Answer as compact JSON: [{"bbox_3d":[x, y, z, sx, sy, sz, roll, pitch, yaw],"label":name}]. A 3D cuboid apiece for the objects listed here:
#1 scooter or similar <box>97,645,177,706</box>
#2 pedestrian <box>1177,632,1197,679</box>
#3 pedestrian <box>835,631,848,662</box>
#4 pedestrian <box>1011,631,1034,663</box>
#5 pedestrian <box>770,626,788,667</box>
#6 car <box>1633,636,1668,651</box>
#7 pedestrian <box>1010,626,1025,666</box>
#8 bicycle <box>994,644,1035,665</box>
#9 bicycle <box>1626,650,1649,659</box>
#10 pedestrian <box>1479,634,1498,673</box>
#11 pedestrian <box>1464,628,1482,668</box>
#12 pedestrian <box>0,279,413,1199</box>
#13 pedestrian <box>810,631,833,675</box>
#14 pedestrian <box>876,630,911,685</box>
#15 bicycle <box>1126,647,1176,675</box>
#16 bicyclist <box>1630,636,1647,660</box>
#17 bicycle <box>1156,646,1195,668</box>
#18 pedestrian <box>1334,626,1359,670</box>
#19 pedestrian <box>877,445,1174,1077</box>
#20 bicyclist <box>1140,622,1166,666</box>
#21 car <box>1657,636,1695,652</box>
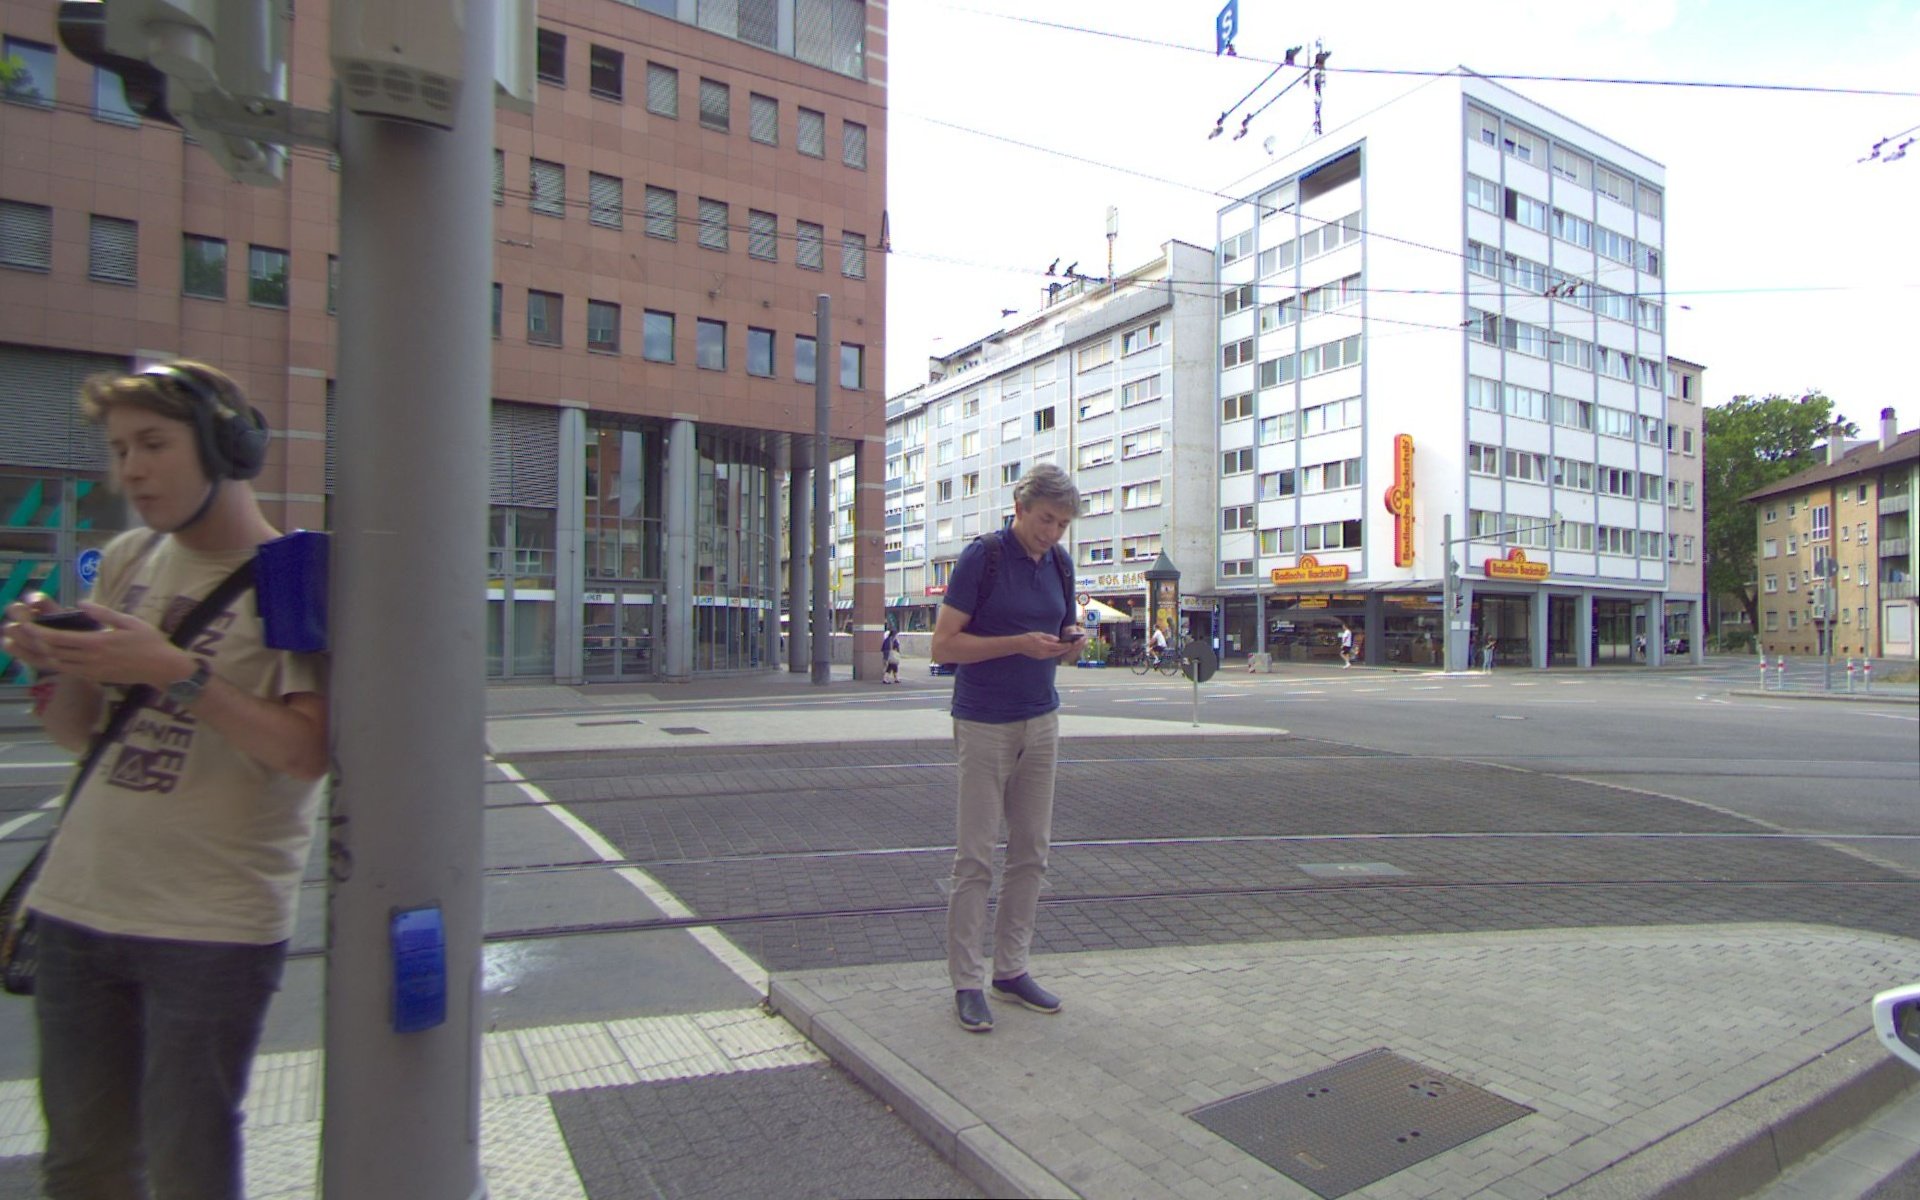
[{"bbox_3d":[-16.066,1.461,19.630,1.099,1.148,0.516,1,-2,-30],"label":"scooter or similar"},{"bbox_3d":[7.958,1.936,35.245,0.647,1.615,0.689,0,-1,17],"label":"pedestrian"},{"bbox_3d":[-6.160,2.386,51.996,0.514,1.598,0.503,1,-2,-29],"label":"pedestrian"},{"bbox_3d":[2.729,2.045,43.693,0.847,1.393,0.633,0,-2,18],"label":"pedestrian"},{"bbox_3d":[-7.430,1.900,41.188,0.574,1.685,0.517,1,-2,-30],"label":"pedestrian"},{"bbox_3d":[69.453,4.347,101.102,1.629,1.441,3.949,0,-1,14],"label":"car"},{"bbox_3d":[2.423,1.952,42.497,0.458,1.663,0.633,0,-1,20],"label":"pedestrian"},{"bbox_3d":[2.370,2.376,43.736,1.753,0.899,0.473,0,-2,20],"label":"bicycle"},{"bbox_3d":[47.512,3.830,70.434,1.973,0.596,0.481,1,-2,-28],"label":"bicycle"},{"bbox_3d":[21.677,2.206,41.220,0.512,1.580,0.496,1,-2,-30],"label":"pedestrian"},{"bbox_3d":[23.471,2.196,45.985,0.582,1.788,0.473,1,-1,-31],"label":"pedestrian"},{"bbox_3d":[-1.283,0.489,1.583,0.567,1.815,0.535,1,-2,-10],"label":"pedestrian"},{"bbox_3d":[-4.719,1.794,34.255,0.574,1.492,0.650,1,-2,-30],"label":"pedestrian"},{"bbox_3d":[-1.853,1.578,27.884,0.676,1.492,0.793,1,-2,-30],"label":"pedestrian"},{"bbox_3d":[7.104,2.274,37.367,1.753,1.002,0.473,0,-2,20],"label":"bicycle"},{"bbox_3d":[47.543,3.354,70.381,1.024,1.667,0.605,1,-2,-28],"label":"bicyclist"},{"bbox_3d":[10.151,2.666,47.392,1.759,1.002,0.472,-1,-2,35],"label":"bicycle"},{"bbox_3d":[16.810,2.093,43.712,0.574,1.883,0.857,1,-2,-31],"label":"pedestrian"},{"bbox_3d":[0.219,0.496,3.531,0.797,1.900,0.688,1,-2,-30],"label":"pedestrian"},{"bbox_3d":[7.173,1.624,37.298,0.866,1.590,0.547,0,-2,20],"label":"bicyclist"},{"bbox_3d":[68.316,4.223,95.921,1.629,1.441,3.868,0,-1,14],"label":"car"}]
